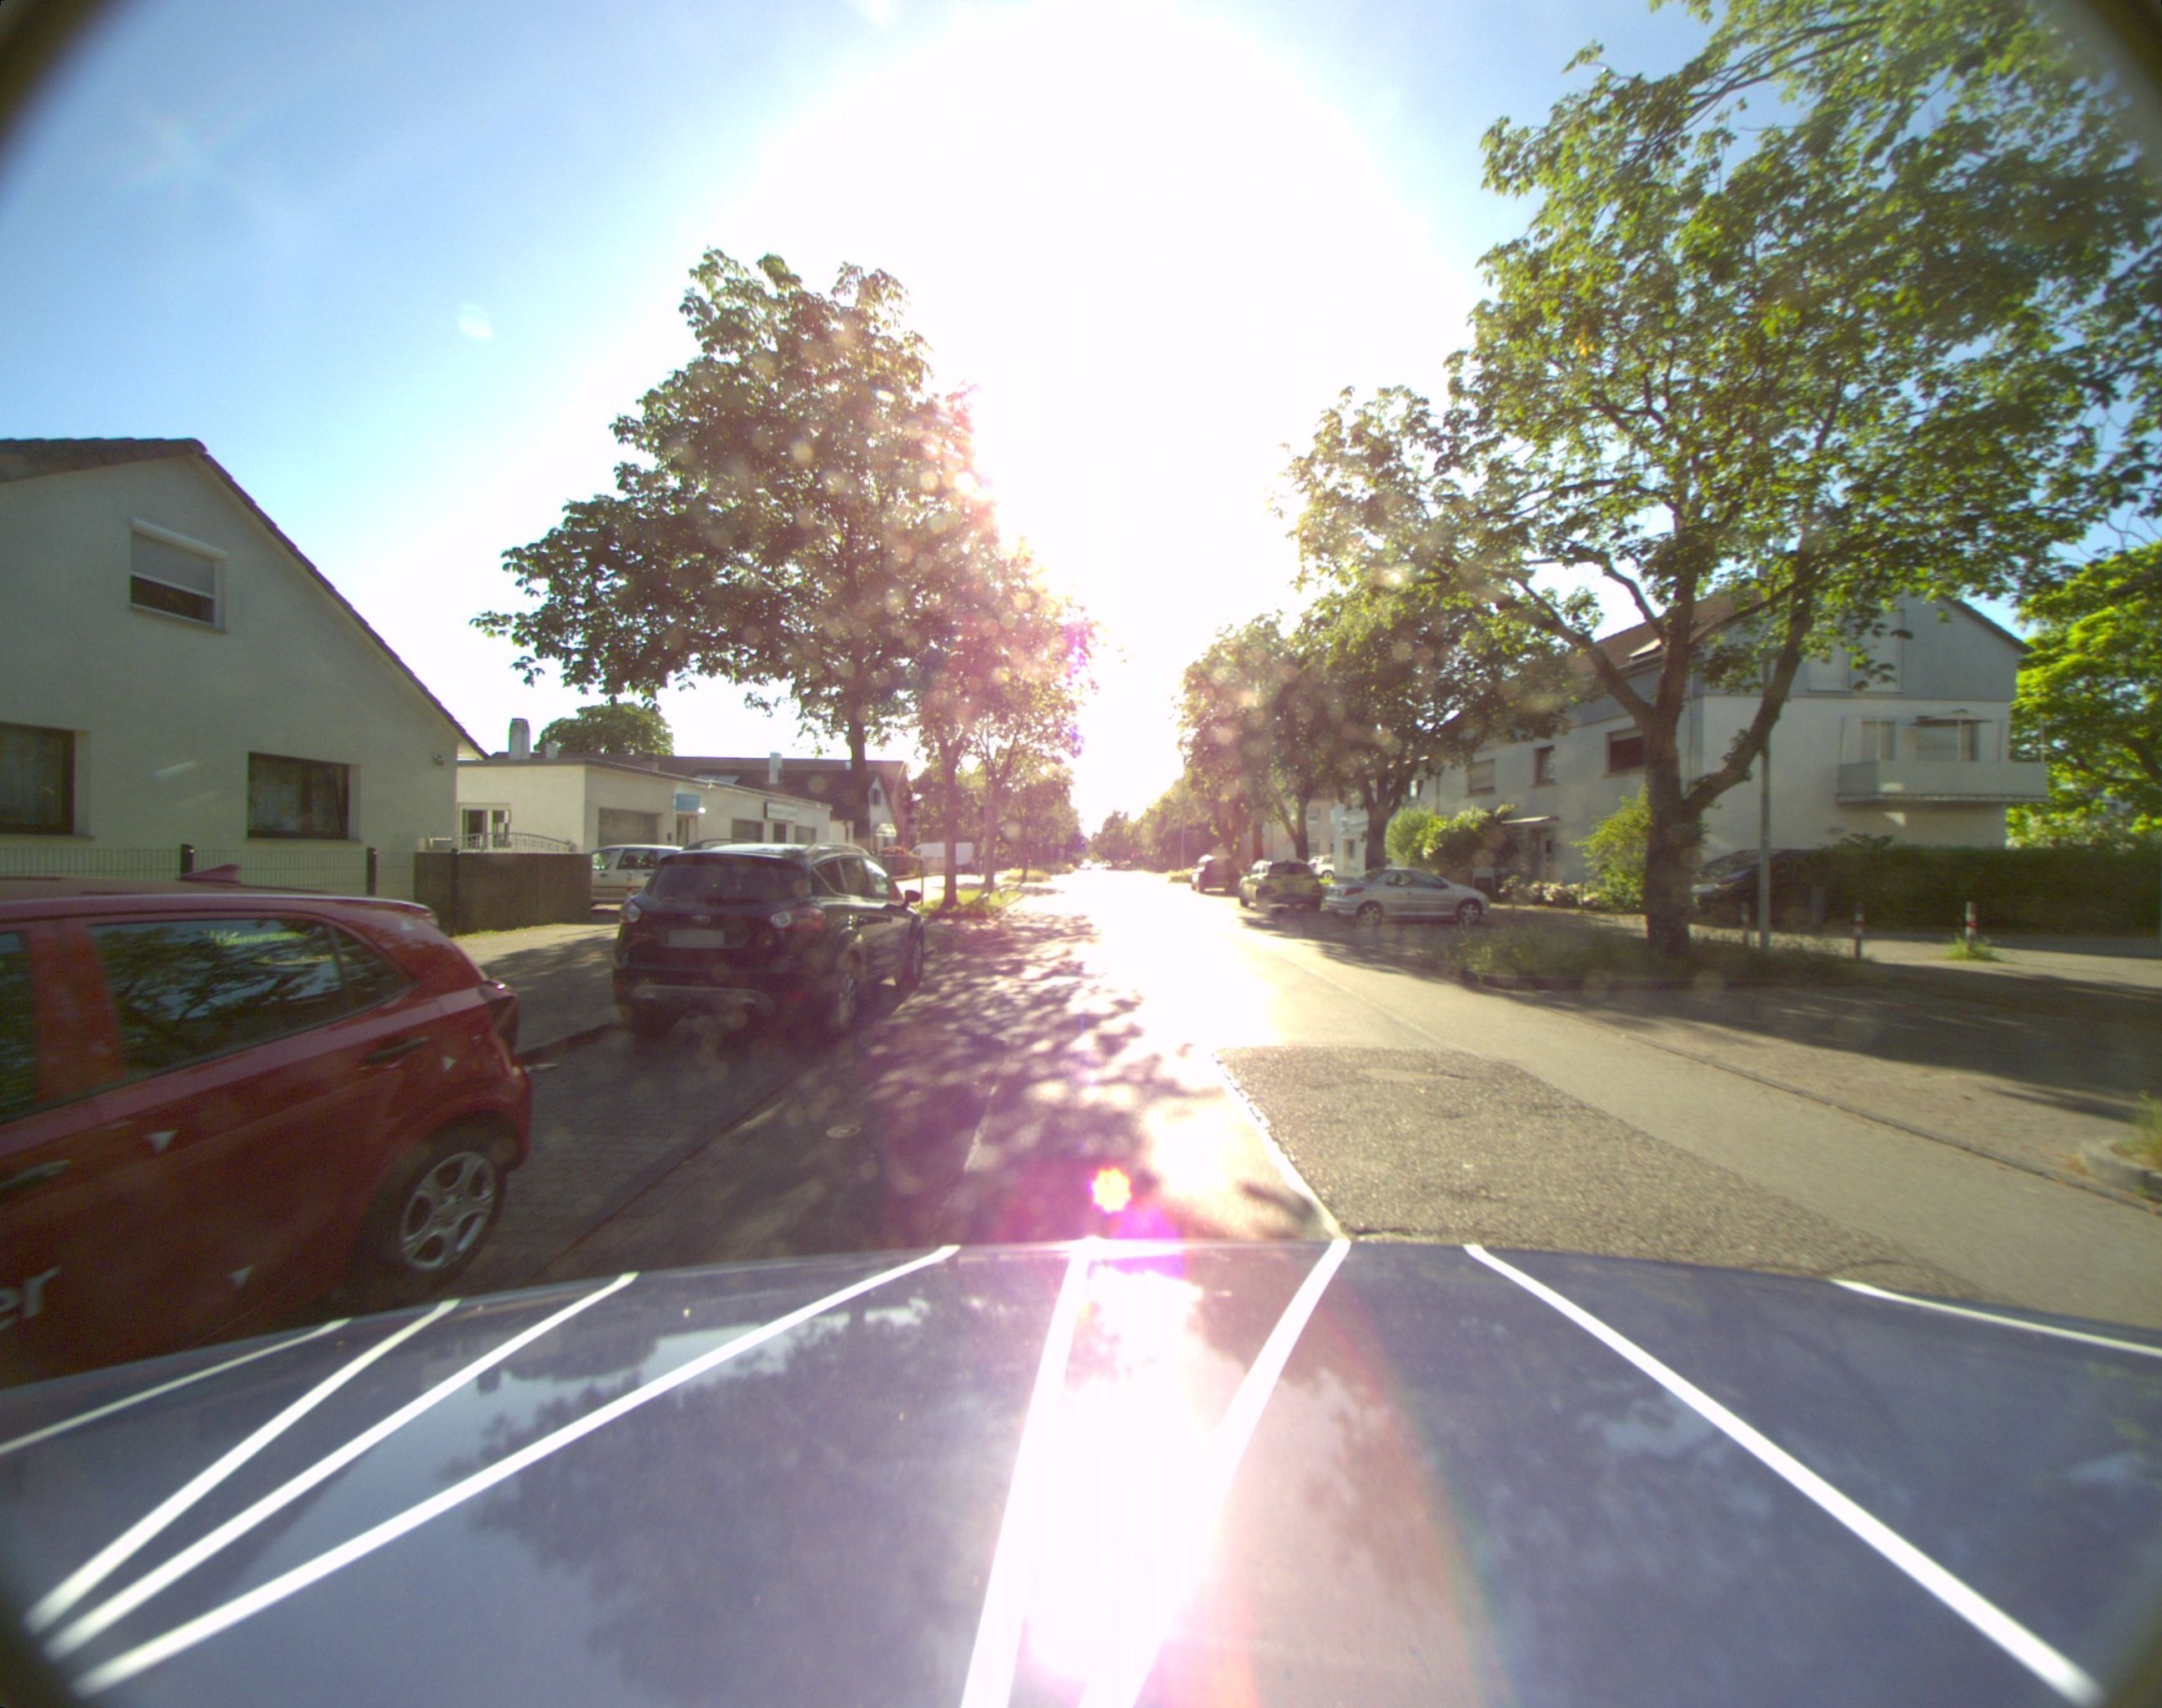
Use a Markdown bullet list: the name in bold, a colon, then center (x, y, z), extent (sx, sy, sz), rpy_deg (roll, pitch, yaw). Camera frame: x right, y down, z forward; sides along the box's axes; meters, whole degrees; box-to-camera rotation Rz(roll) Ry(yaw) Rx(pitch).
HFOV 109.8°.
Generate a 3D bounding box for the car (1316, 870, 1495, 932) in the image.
- **car**: center (7.836, 1.097, 18.526), extent (3.695, 1.315, 1.624), rpy_deg (-1, 1, -5)

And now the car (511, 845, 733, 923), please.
- **car**: center (-9.681, 0.599, 16.239), extent (3.621, 1.431, 1.695), rpy_deg (-2, 1, -2)

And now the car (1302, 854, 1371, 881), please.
- **car**: center (17.589, 0.911, 52.413), extent (3.997, 1.674, 2.000), rpy_deg (-2, 1, 0)

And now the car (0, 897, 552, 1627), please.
- **car**: center (-3.175, 0.947, 1.388), extent (1.690, 1.414, 3.777), rpy_deg (2, 1, 1)

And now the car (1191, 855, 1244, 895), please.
- **car**: center (6.160, 0.901, 34.710), extent (1.815, 1.722, 4.056), rpy_deg (1, 0, 3)

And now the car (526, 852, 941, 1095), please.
- **car**: center (-2.859, 0.834, 7.519), extent (1.941, 1.684, 4.363), rpy_deg (0, 0, 3)

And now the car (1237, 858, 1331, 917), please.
- **car**: center (6.129, 0.970, 23.394), extent (1.998, 1.530, 3.695), rpy_deg (-2, 1, 3)

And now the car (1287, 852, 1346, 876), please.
- **car**: center (18.617, 0.785, 60.210), extent (3.997, 1.674, 2.000), rpy_deg (-2, 1, 0)

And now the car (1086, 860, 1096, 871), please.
- **car**: center (1.751, 1.962, 129.374), extent (1.539, 1.582, 3.458), rpy_deg (-2, 1, 3)

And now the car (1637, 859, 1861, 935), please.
- **car**: center (16.040, 0.995, 18.406), extent (3.773, 1.556, 1.691), rpy_deg (2, 1, 4)
